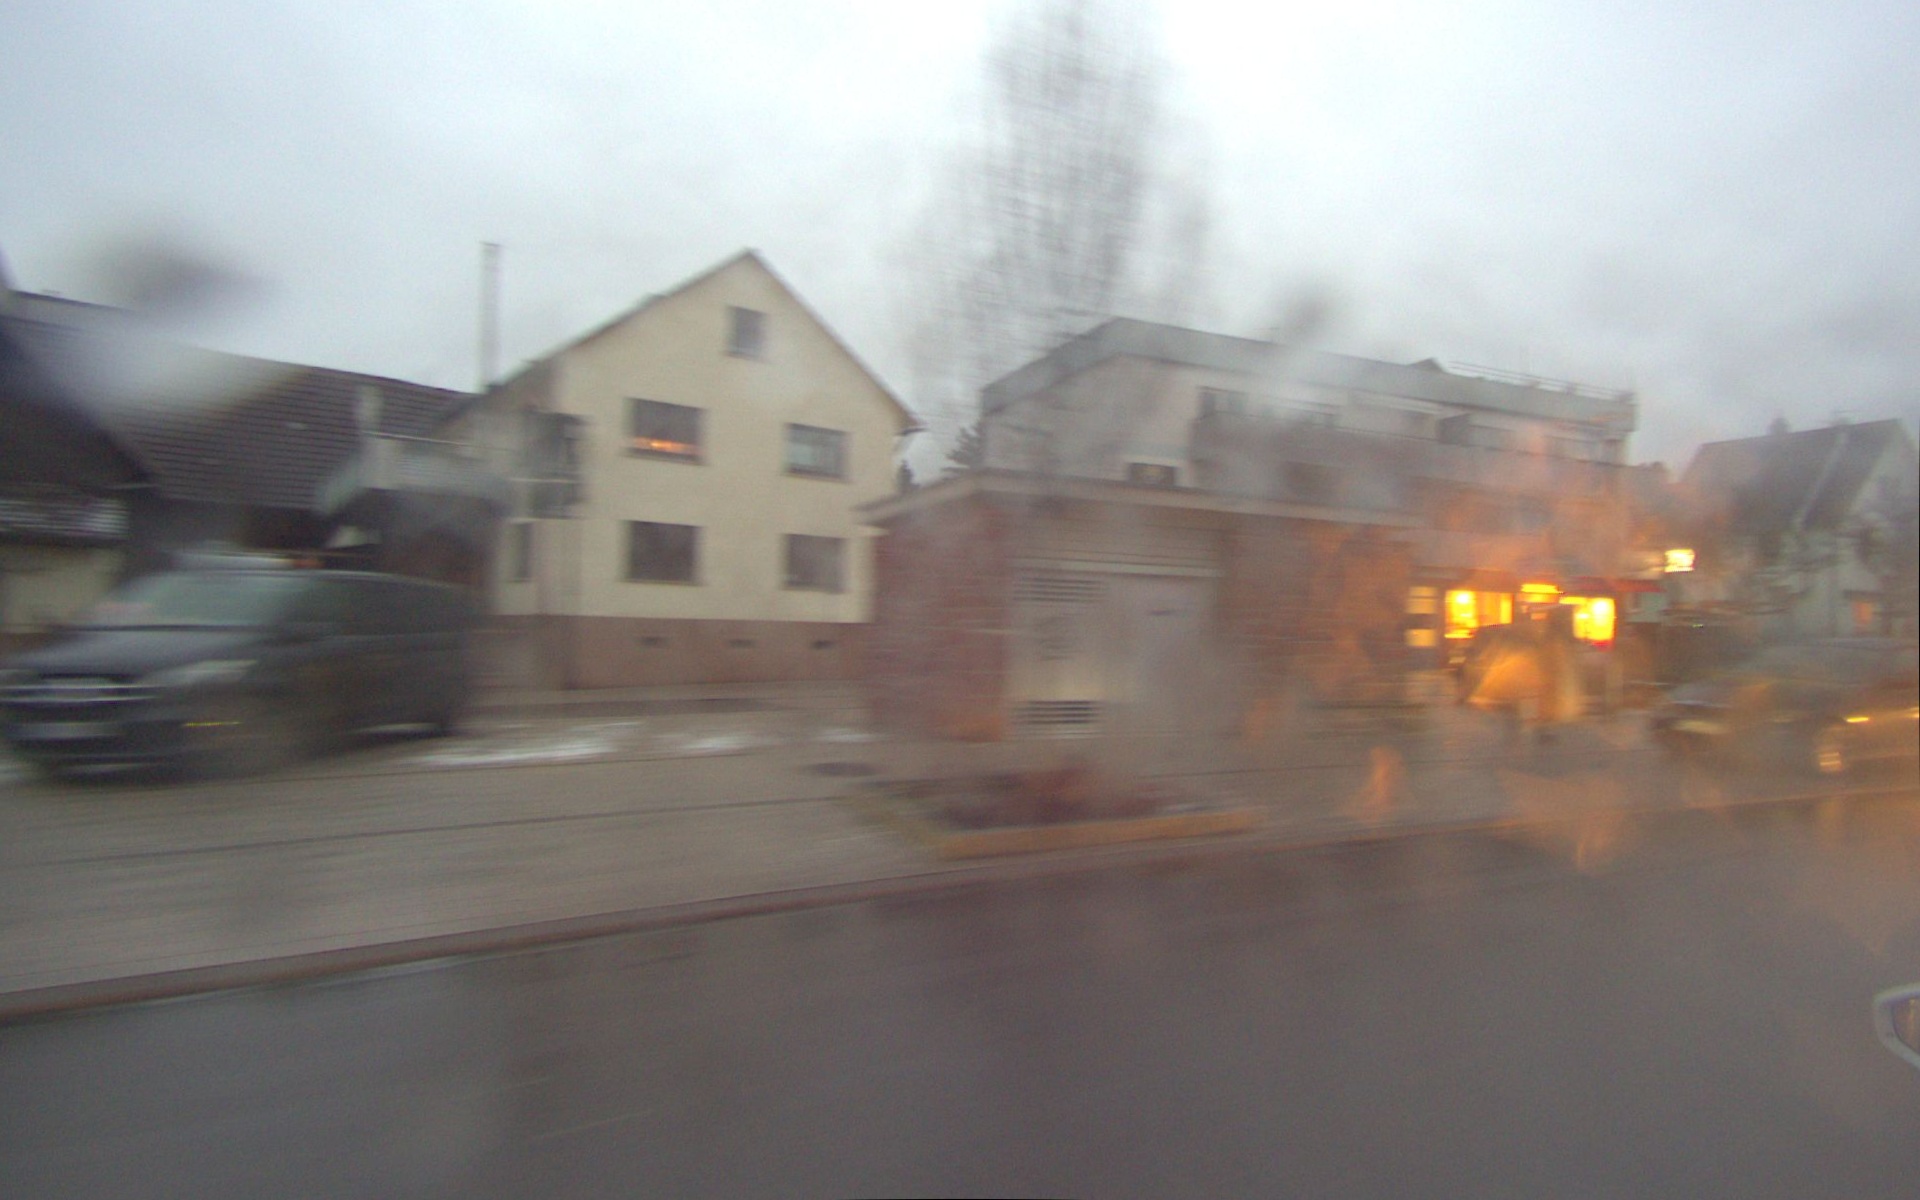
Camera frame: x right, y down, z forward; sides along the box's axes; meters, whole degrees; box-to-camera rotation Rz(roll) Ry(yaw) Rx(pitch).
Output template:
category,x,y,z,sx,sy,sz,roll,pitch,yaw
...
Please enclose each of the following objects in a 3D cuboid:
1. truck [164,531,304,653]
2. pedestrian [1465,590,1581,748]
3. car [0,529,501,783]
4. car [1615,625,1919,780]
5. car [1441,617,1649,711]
category,x,y,z,sx,sy,sz,roll,pitch,yaw
truck,-20.144,-0.194,27.748,2.762,2.991,5.793,2,-1,-39
pedestrian,7.023,0.849,12.546,1.043,1.891,0.754,1,-1,-16
car,-6.909,0.537,10.265,2.033,1.910,5.398,0,-2,-1
car,9.926,1.081,11.486,4.389,1.492,1.745,1,0,-19
car,10.345,1.122,18.148,1.704,1.496,4.092,0,-3,6
